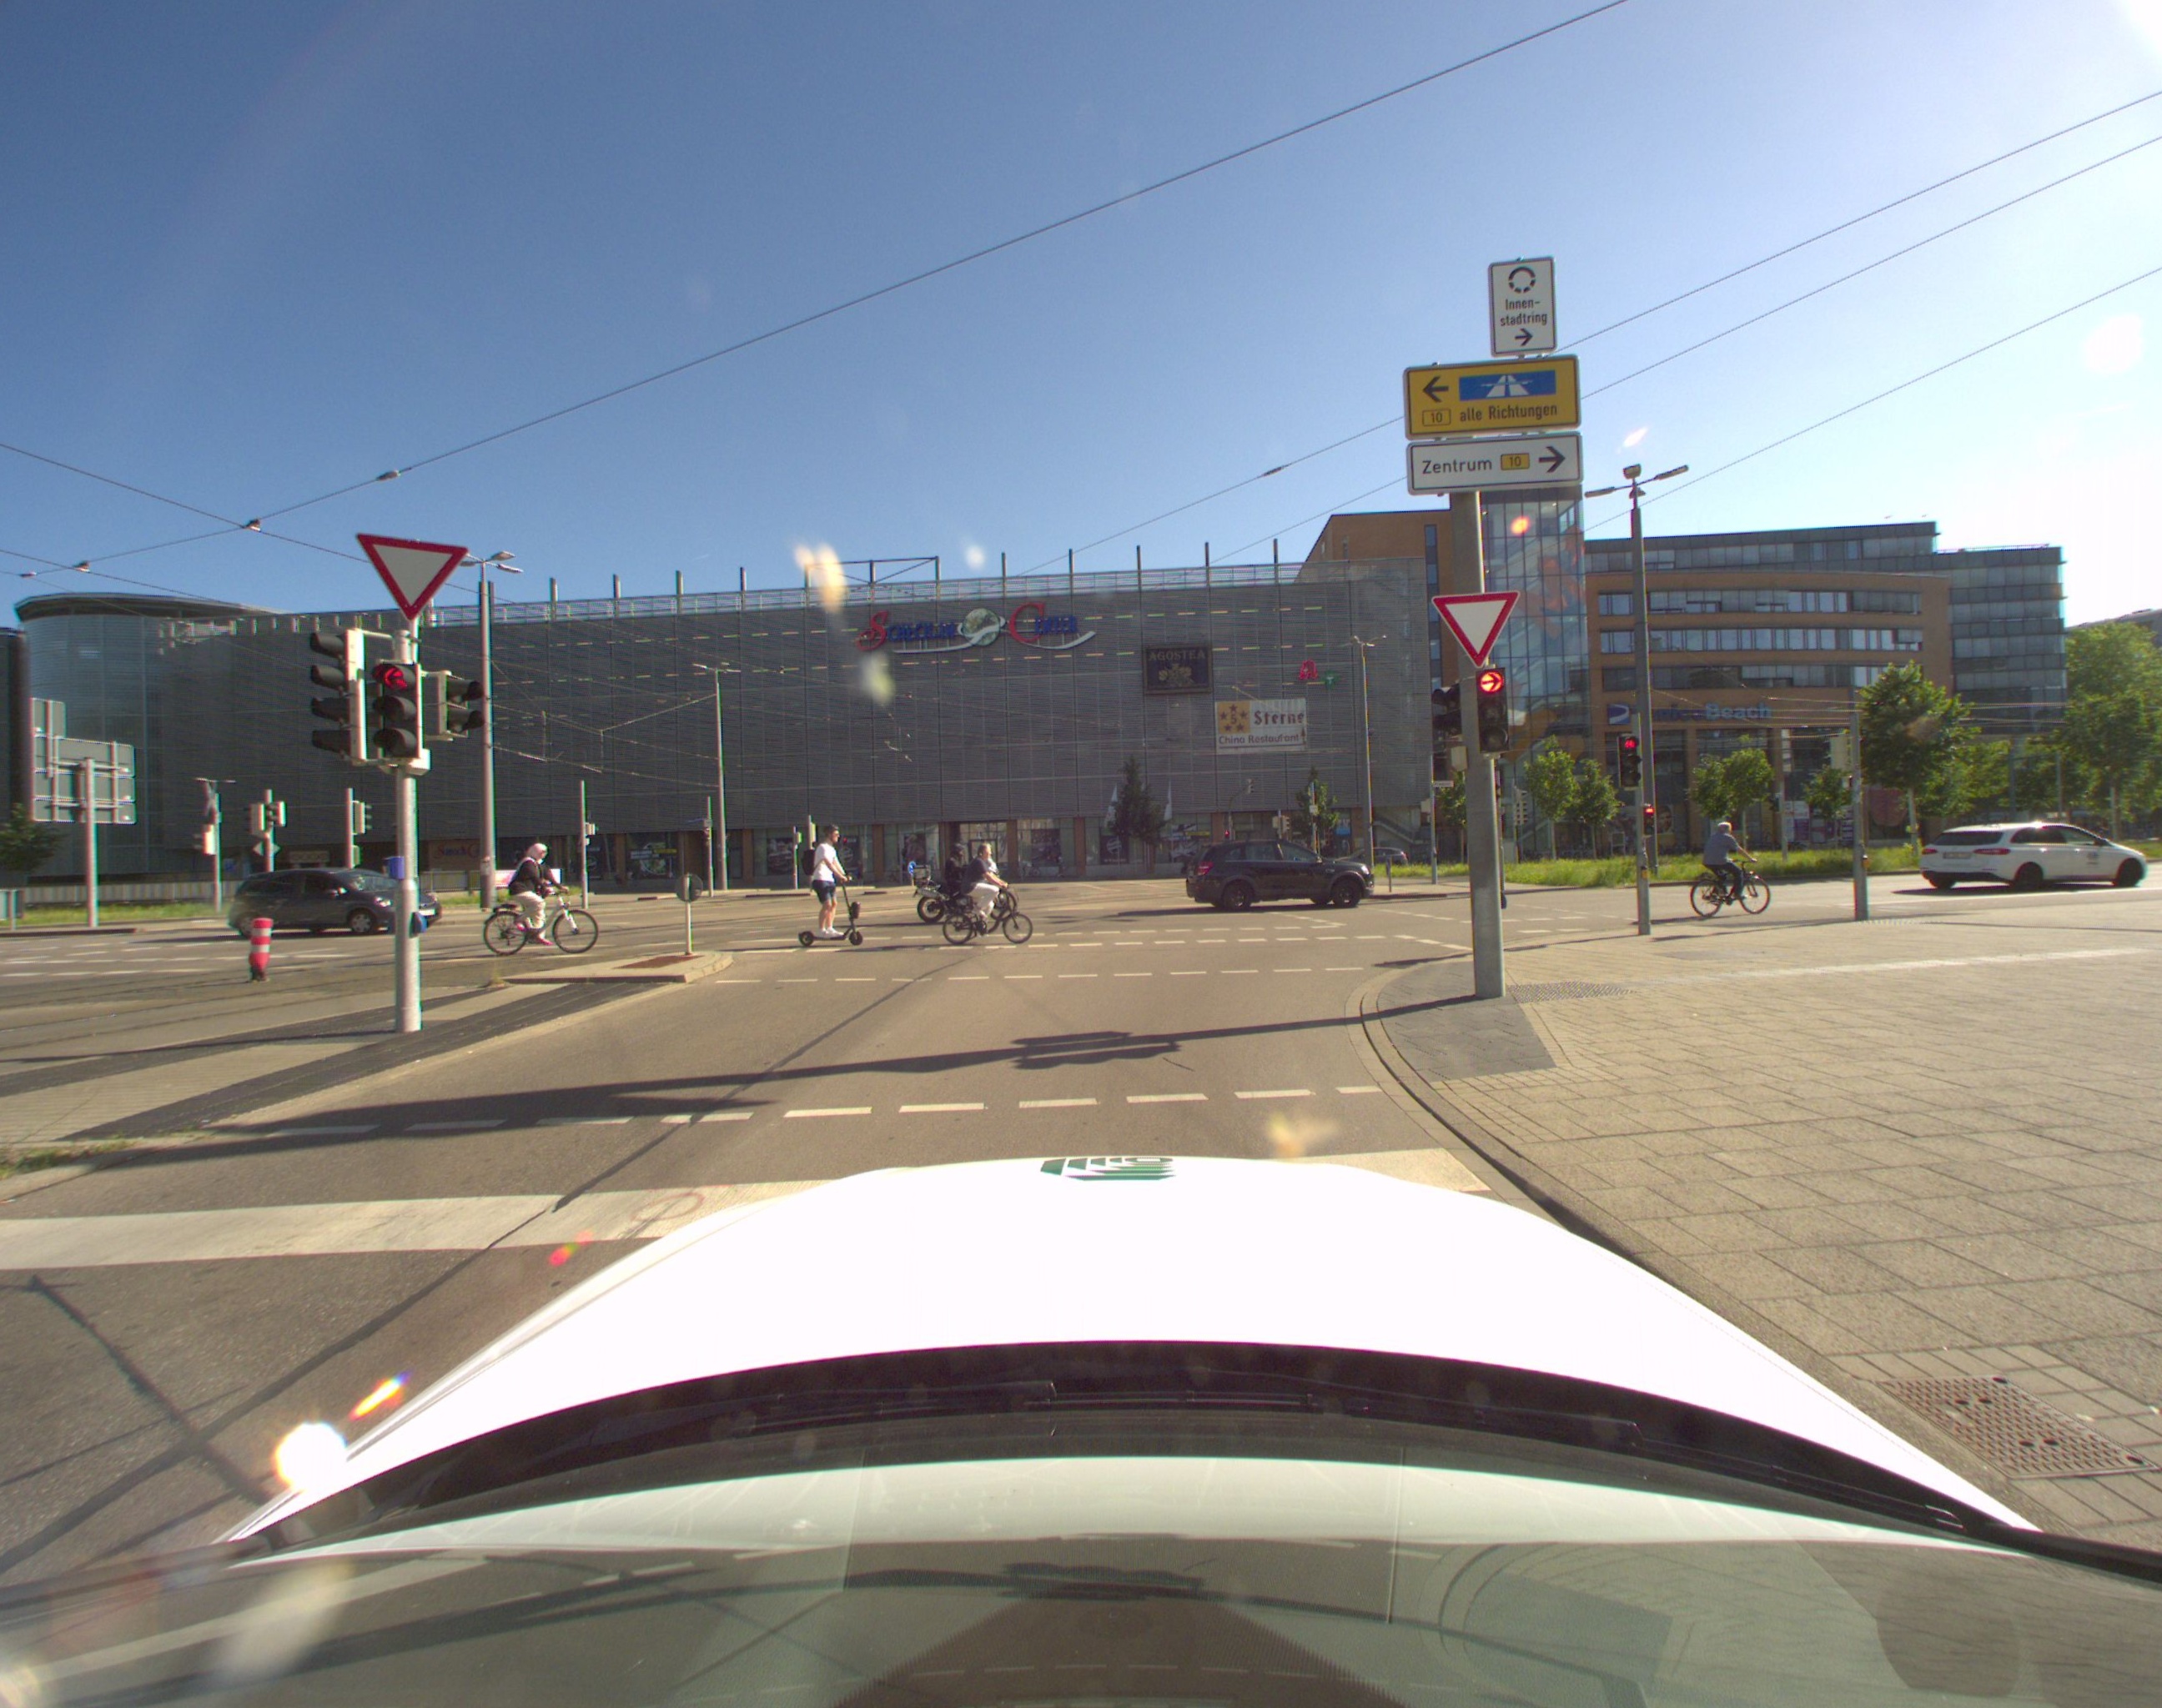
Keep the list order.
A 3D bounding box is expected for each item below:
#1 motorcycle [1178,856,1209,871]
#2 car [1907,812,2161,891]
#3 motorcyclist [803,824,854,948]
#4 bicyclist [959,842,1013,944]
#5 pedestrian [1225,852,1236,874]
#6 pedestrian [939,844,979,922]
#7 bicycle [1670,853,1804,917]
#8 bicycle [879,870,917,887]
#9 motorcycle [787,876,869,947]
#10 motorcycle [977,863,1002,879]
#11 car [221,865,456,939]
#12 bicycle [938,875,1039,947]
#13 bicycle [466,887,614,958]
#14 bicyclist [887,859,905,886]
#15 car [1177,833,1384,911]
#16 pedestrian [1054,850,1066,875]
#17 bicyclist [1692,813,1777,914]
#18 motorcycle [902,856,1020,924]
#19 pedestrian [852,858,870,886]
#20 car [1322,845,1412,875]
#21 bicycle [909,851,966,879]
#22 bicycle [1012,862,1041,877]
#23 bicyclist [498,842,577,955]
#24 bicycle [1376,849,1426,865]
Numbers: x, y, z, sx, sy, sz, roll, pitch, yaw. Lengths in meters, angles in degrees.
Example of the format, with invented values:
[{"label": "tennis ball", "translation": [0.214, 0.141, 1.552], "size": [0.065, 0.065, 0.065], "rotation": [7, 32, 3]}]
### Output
[{"label": "motorcycle", "translation": [8.387, 0.710, 60.792], "size": [2.194, 1.042, 1.062], "rotation": [-1, 0, 2]}, {"label": "car", "translation": [22.556, -0.083, 19.325], "size": [4.485, 1.635, 1.835], "rotation": [-2, 1, -8]}, {"label": "motorcyclist", "translation": [-4.223, 0.530, 13.645], "size": [0.625, 2.014, 0.498], "rotation": [-2, -1, 2]}, {"label": "bicyclist", "translation": [-1.596, 0.637, 13.740], "size": [0.780, 1.648, 0.690], "rotation": [-2, -1, -1]}, {"label": "pedestrian", "translation": [10.144, 0.638, 55.164], "size": [0.587, 1.462, 0.658], "rotation": [-2, -1, 1]}, {"label": "pedestrian", "translation": [-2.680, 0.632, 17.984], "size": [0.741, 1.677, 0.665], "rotation": [-1, -1, 1]}, {"label": "bicycle", "translation": [12.526, 0.580, 15.593], "size": [1.822, 1.116, 0.854], "rotation": [-3, -1, 1]}, {"label": "bicycle", "translation": [-12.454, 1.659, 55.433], "size": [2.256, 1.070, 1.034], "rotation": [-2, 0, -39]}, {"label": "motorcycle", "translation": [-4.229, 0.955, 13.637], "size": [1.182, 1.121, 0.483], "rotation": [-2, -1, 1]}, {"label": "motorcycle", "translation": [-6.332, 1.200, 56.339], "size": [1.641, 1.059, 0.499], "rotation": [-2, -1, 11]}, {"label": "car", "translation": [-16.815, 1.054, 18.579], "size": [3.736, 1.525, 1.825], "rotation": [-1, 0, 3]}, {"label": "bicycle", "translation": [-1.518, 0.927, 13.548], "size": [1.571, 1.107, 0.734], "rotation": [-2, 0, -1]}, {"label": "bicycle", "translation": [-8.862, 1.110, 13.383], "size": [1.920, 1.036, 0.694], "rotation": [-2, 0, -2]}, {"label": "bicyclist", "translation": [-12.559, 1.255, 55.354], "size": [0.849, 1.803, 0.806], "rotation": [-1, -1, -40]}, {"label": "car", "translation": [4.871, 0.410, 20.234], "size": [4.628, 1.718, 1.836], "rotation": [-1, 1, -6]}, {"label": "pedestrian", "translation": [-1.556, 0.621, 59.977], "size": [0.845, 1.763, 0.620], "rotation": [-2, -1, 1]}, {"label": "bicyclist", "translation": [12.491, 0.184, 15.592], "size": [0.898, 1.859, 0.855], "rotation": [-2, -1, 2]}, {"label": "motorcycle", "translation": [-2.615, 0.769, 17.930], "size": [2.435, 1.419, 0.915], "rotation": [-1, 0, 0]}, {"label": "pedestrian", "translation": [-15.037, 1.232, 55.595], "size": [0.894, 1.868, 0.826], "rotation": [-2, -1, 44]}, {"label": "car", "translation": [15.927, 0.324, 45.425], "size": [4.470, 1.495, 1.495], "rotation": [-2, 0, 1]}, {"label": "bicycle", "translation": [-10.854, 0.820, 61.613], "size": [3.971, 2.013, 1.331], "rotation": [-1, 0, 2]}, {"label": "bicycle", "translation": [-4.075, 1.159, 60.907], "size": [2.019, 1.059, 1.145], "rotation": [-2, 0, 1]}, {"label": "bicyclist", "translation": [-8.902, 0.708, 13.367], "size": [0.761, 1.789, 0.762], "rotation": [-2, -1, -2]}, {"label": "bicycle", "translation": [23.876, 0.218, 60.821], "size": [3.342, 1.077, 1.119], "rotation": [-1, 0, 7]}]
